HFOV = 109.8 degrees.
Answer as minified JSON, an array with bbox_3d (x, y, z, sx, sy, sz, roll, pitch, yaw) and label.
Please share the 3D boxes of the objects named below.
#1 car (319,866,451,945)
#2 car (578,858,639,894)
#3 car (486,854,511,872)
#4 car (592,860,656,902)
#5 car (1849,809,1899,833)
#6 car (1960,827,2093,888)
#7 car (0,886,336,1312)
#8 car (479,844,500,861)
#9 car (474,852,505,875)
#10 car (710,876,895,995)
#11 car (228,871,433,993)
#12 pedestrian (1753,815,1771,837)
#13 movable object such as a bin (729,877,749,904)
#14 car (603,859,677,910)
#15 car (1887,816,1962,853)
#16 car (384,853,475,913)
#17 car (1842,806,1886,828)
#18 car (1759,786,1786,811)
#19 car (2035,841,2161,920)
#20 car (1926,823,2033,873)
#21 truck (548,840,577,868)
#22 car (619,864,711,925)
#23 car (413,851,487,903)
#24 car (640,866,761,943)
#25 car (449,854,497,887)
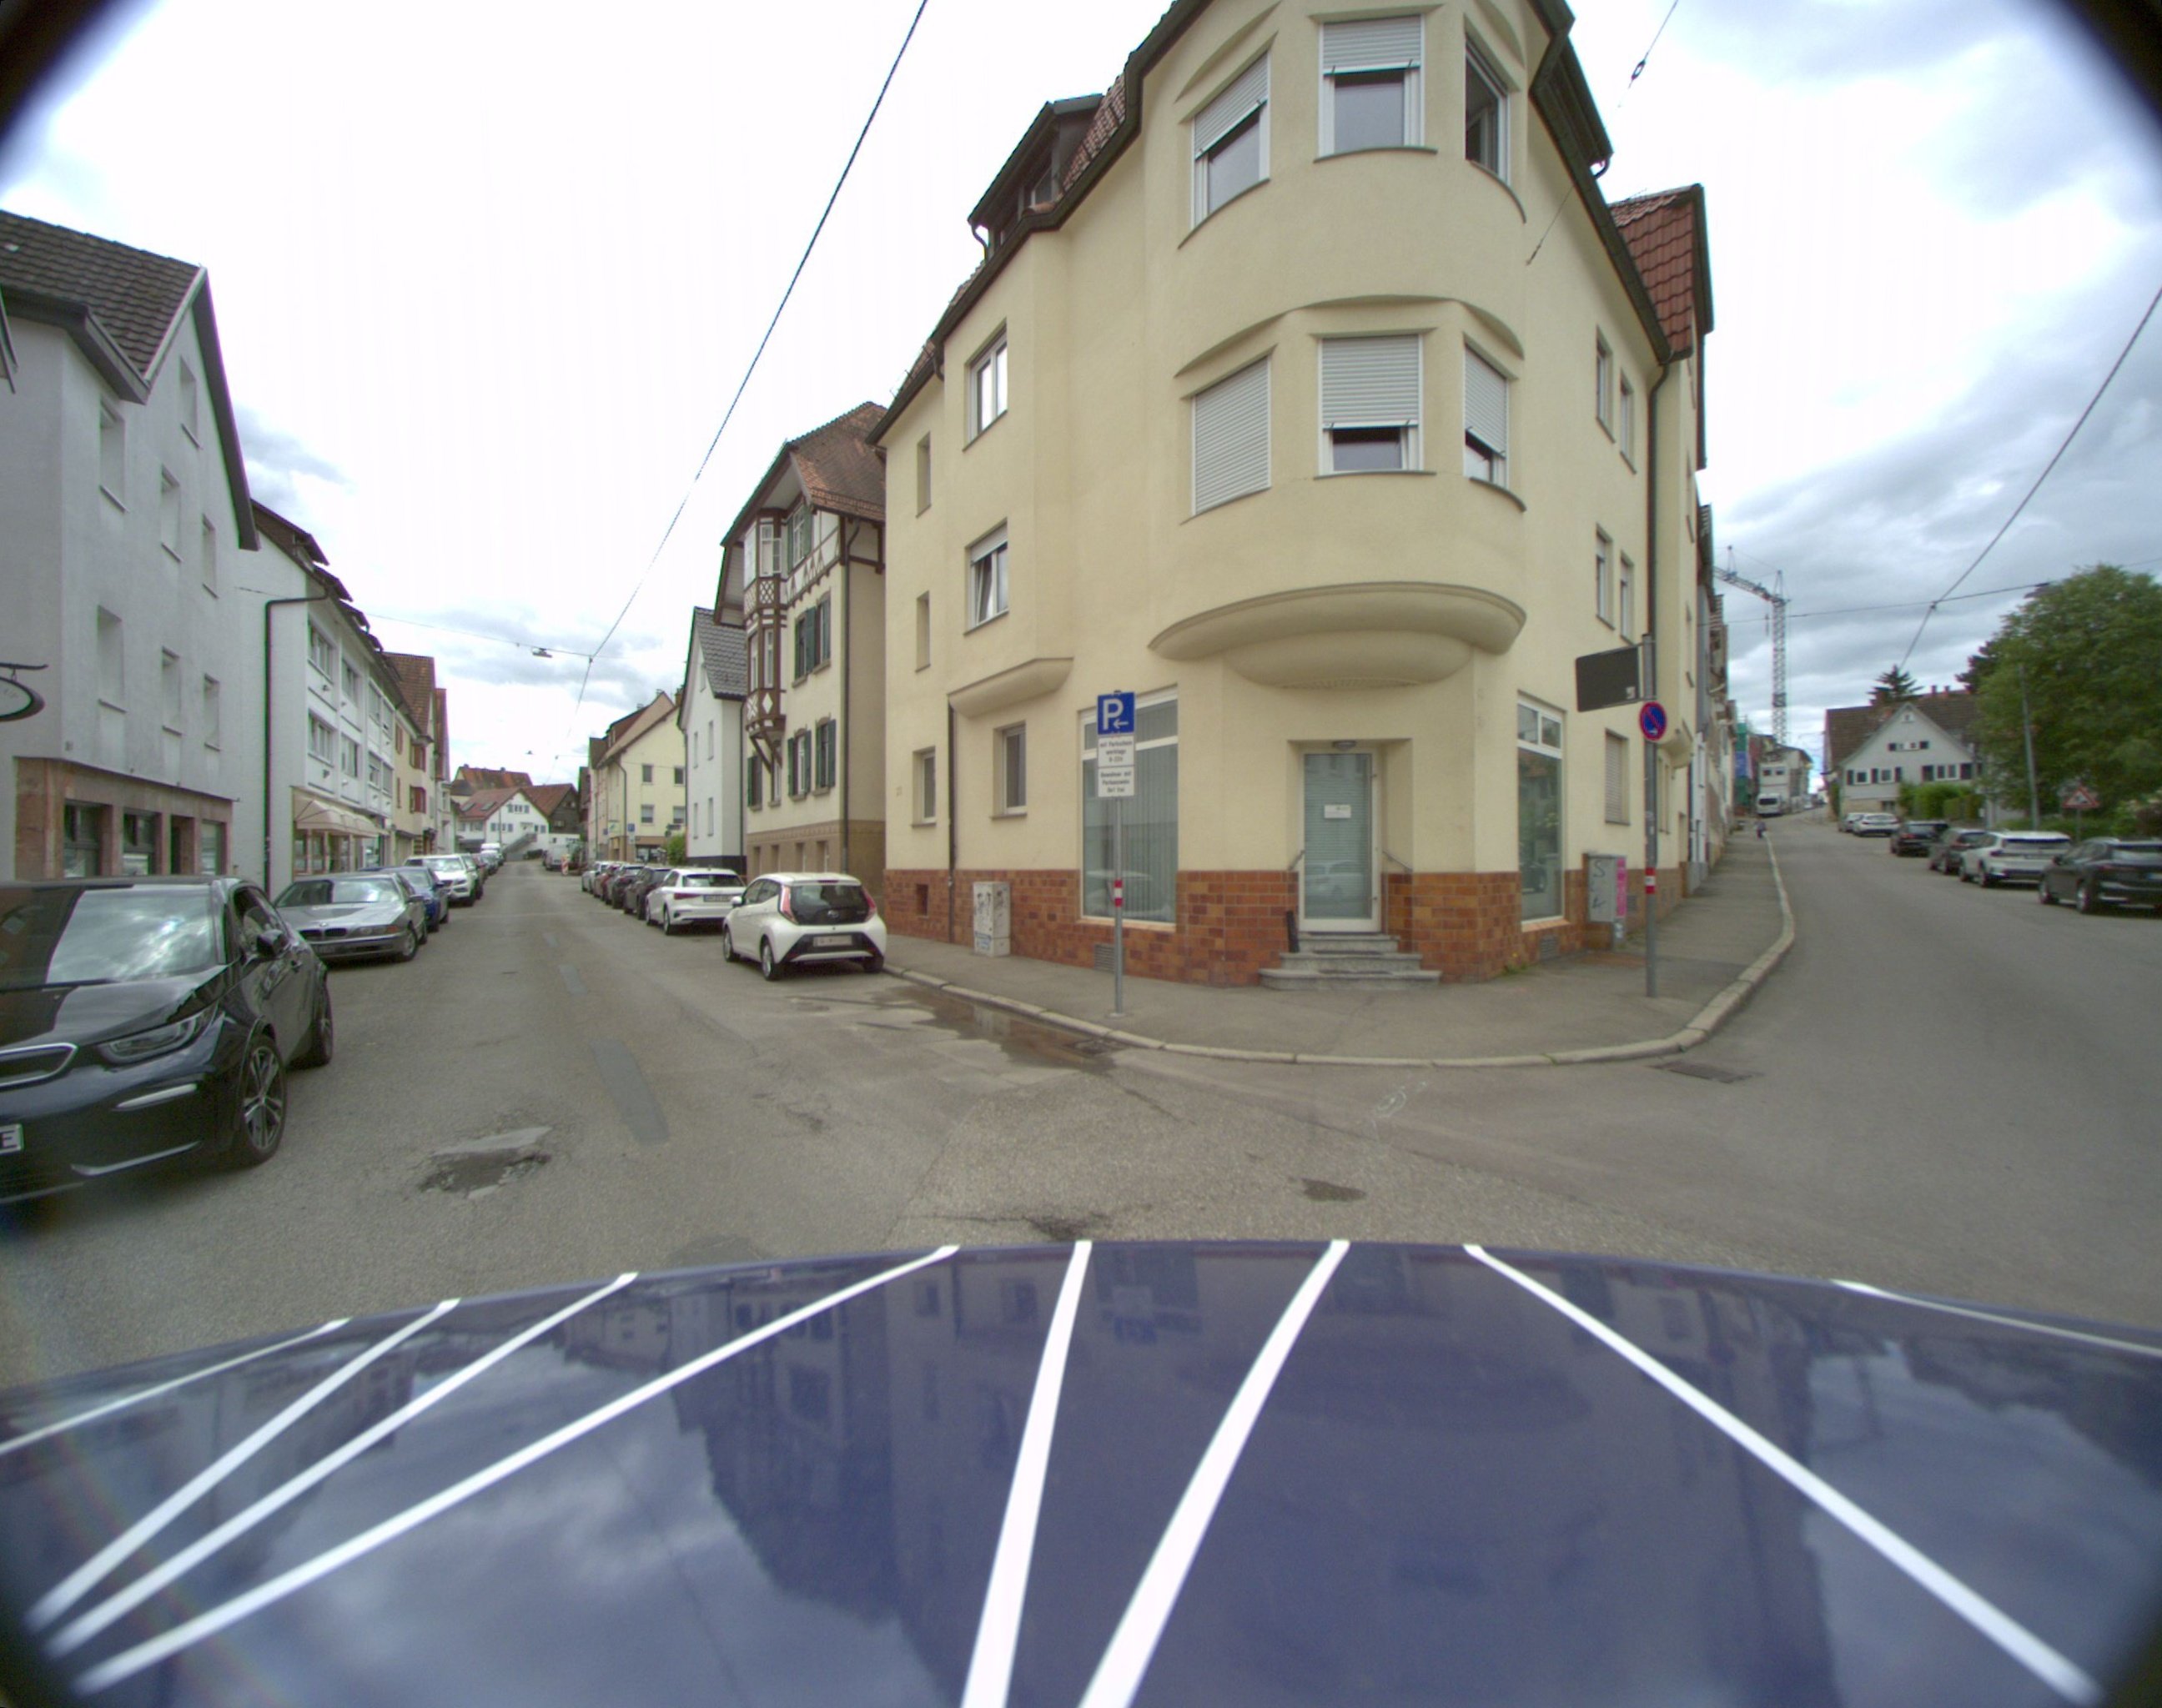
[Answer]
[{"bbox_3d":[-15.714,1.070,17.362,1.760,1.424,3.917,-2,2,-36],"label":"car"},{"bbox_3d":[-21.312,0.958,34.195,1.761,1.423,4.337,3,-1,-39],"label":"car"},{"bbox_3d":[-51.080,0.762,66.650,1.610,1.464,3.541,-4,3,-36],"label":"car"},{"bbox_3d":[-18.062,1.040,29.973,1.761,1.440,4.055,3,-1,-36],"label":"car"},{"bbox_3d":[51.799,-2.158,49.677,1.850,1.442,3.953,1,3,41],"label":"car"},{"bbox_3d":[27.566,0.048,22.296,1.850,1.641,3.954,1,2,43],"label":"car"},{"bbox_3d":[-5.826,1.065,4.339,1.827,1.534,4.016,-3,2,-39],"label":"car"},{"bbox_3d":[-64.522,-0.173,82.871,1.610,1.717,3.541,-4,3,-36],"label":"car"},{"bbox_3d":[-42.798,0.652,55.020,1.610,1.464,3.977,-4,3,-36],"label":"car"},{"bbox_3d":[-4.428,1.101,11.744,1.675,1.425,3.806,1,0,-36],"label":"car"},{"bbox_3d":[-12.278,1.124,12.761,1.795,1.409,4.565,-4,3,-37],"label":"car"},{"bbox_3d":[45.955,-1.868,51.279,0.755,1.480,0.567,-1,1,29],"label":"pedestrian"},{"bbox_3d":[-12.233,1.293,27.139,0.516,0.926,0.602,-2,1,-36],"label":"movable object such as a bin"},{"bbox_3d":[-14.960,1.004,25.686,1.761,1.500,4.073,3,-1,-35],"label":"car"},{"bbox_3d":[39.621,-0.957,35.775,1.850,1.641,3.953,1,3,41],"label":"car"},{"bbox_3d":[-21.286,0.874,25.004,1.905,1.696,4.481,-1,2,-36],"label":"car"},{"bbox_3d":[55.900,-2.647,54.293,1.850,1.442,3.952,1,5,41],"label":"car"},{"bbox_3d":[78.243,-6.268,86.030,2.188,2.631,5.836,1,4,41],"label":"car"},{"bbox_3d":[21.760,0.478,15.764,1.850,1.455,3.954,1,2,43],"label":"car"},{"bbox_3d":[31.923,-0.267,27.127,1.850,1.641,3.953,1,3,41],"label":"car"},{"bbox_3d":[-45.836,-0.014,67.069,1.788,2.378,5.470,-1,1,-37],"label":"truck"},{"bbox_3d":[-11.932,1.091,21.670,1.761,1.447,4.358,3,-1,-35],"label":"car"},{"bbox_3d":[-24.352,0.810,29.469,1.905,1.779,4.332,-1,2,-36],"label":"car"},{"bbox_3d":[-8.911,1.077,17.598,1.761,1.424,4.357,3,-1,-36],"label":"car"},{"bbox_3d":[-32.625,0.825,40.845,1.677,1.520,3.977,-4,3,-35],"label":"car"}]
